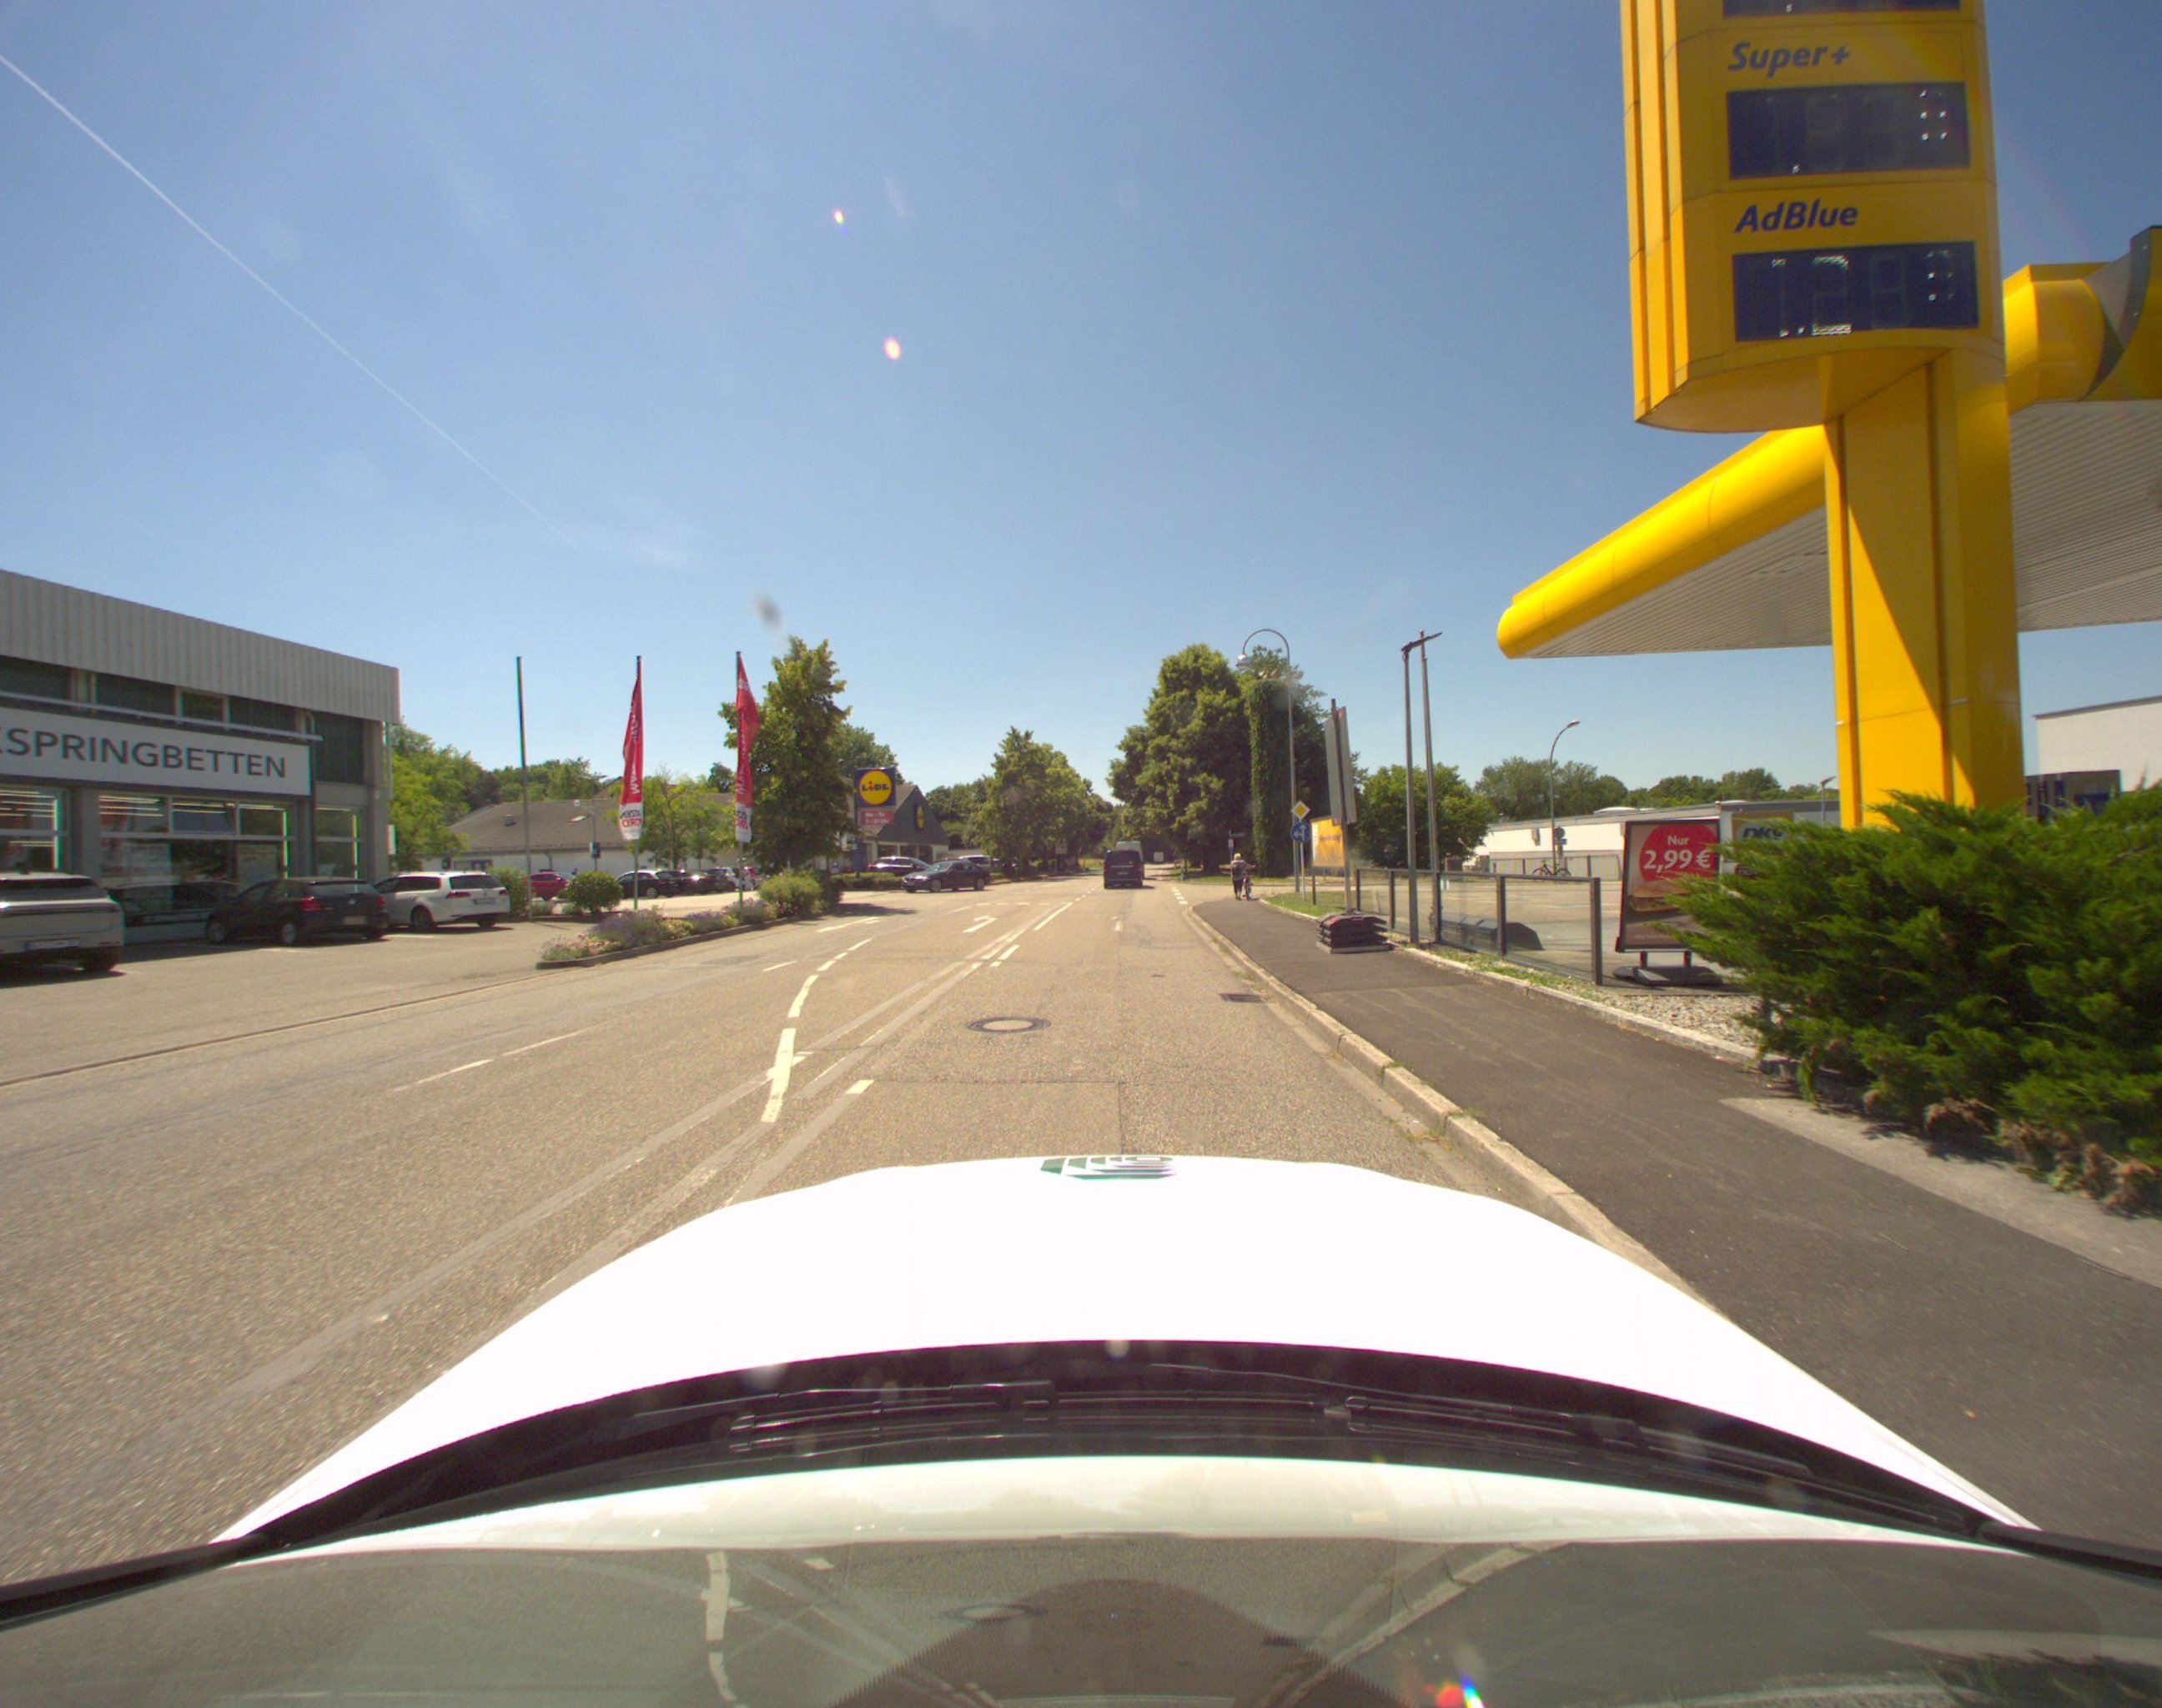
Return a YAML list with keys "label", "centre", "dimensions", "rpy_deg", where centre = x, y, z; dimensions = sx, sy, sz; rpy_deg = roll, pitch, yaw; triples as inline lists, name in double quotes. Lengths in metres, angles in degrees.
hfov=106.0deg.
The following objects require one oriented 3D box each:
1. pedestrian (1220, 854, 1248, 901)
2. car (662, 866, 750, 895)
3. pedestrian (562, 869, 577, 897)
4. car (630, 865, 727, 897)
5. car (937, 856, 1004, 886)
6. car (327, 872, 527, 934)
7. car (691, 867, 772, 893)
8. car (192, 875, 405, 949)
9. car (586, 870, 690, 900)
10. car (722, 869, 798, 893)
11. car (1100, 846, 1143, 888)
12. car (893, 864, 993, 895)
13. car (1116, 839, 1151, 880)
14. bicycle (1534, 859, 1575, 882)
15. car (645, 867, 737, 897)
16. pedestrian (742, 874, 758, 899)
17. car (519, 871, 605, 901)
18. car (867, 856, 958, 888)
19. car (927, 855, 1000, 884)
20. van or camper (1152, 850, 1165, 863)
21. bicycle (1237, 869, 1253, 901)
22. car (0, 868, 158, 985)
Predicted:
- label: "pedestrian"
  centre: [4.727, 0.715, 25.104]
  dimensions: [0.763, 1.421, 0.871]
  rpy_deg: [-1, -1, 14]
- label: "car"
  centre: [-22.570, 1.573, 49.083]
  dimensions: [4.297, 1.655, 2.114]
  rpy_deg: [-1, -1, 1]
- label: "pedestrian"
  centre: [-33.572, 1.871, 53.404]
  dimensions: [0.756, 1.806, 0.763]
  rpy_deg: [1, -2, -37]
- label: "car"
  centre: [-21.441, 1.435, 43.505]
  dimensions: [4.227, 1.589, 1.767]
  rpy_deg: [-1, -1, -4]
- label: "car"
  centre: [-7.718, 1.192, 57.228]
  dimensions: [4.339, 1.980, 1.906]
  rpy_deg: [-1, -1, 2]
- label: "car"
  centre: [-16.803, 1.229, 20.976]
  dimensions: [4.151, 1.446, 1.988]
  rpy_deg: [-1, 0, 17]
- label: "car"
  centre: [-22.035, 1.637, 51.430]
  dimensions: [4.297, 1.530, 1.828]
  rpy_deg: [-1, -1, 1]
- label: "car"
  centre: [-17.428, 1.244, 18.187]
  dimensions: [3.596, 1.475, 2.010]
  rpy_deg: [-1, 0, 19]
- label: "car"
  centre: [-22.292, 1.549, 41.073]
  dimensions: [4.227, 1.369, 1.767]
  rpy_deg: [-1, -1, -4]
- label: "car"
  centre: [-21.165, 1.767, 53.796]
  dimensions: [4.297, 1.530, 1.828]
  rpy_deg: [-1, -1, 1]
- label: "car"
  centre: [2.099, 0.651, 40.519]
  dimensions: [1.984, 1.953, 5.010]
  rpy_deg: [0, -1, 4]
- label: "car"
  centre: [-6.499, 1.168, 38.903]
  dimensions: [1.913, 1.400, 4.766]
  rpy_deg: [-1, -1, 35]
- label: "car"
  centre: [3.691, 0.370, 56.601]
  dimensions: [2.067, 2.702, 4.676]
  rpy_deg: [0, -1, 7]
- label: "bicycle"
  centre: [23.300, 0.819, 40.057]
  dimensions: [1.684, 1.098, 0.468]
  rpy_deg: [-1, -1, 6]
- label: "car"
  centre: [-22.093, 1.584, 46.276]
  dimensions: [4.303, 1.606, 1.910]
  rpy_deg: [-1, -1, -4]
- label: "pedestrian"
  centre: [-19.847, 1.926, 48.842]
  dimensions: [0.891, 1.483, 0.803]
  rpy_deg: [0, -1, -19]
- label: "car"
  centre: [-28.172, 1.730, 44.265]
  dimensions: [3.592, 1.486, 1.651]
  rpy_deg: [-1, -1, 1]
- label: "car"
  centre: [-9.704, 1.022, 47.087]
  dimensions: [4.680, 1.762, 2.103]
  rpy_deg: [-1, -1, 9]
- label: "car"
  centre: [-7.841, 1.031, 54.515]
  dimensions: [4.357, 1.845, 2.109]
  rpy_deg: [-1, -1, 10]
- label: "van or camper"
  centre: [16.776, 0.573, 176.516]
  dimensions: [2.622, 2.929, 5.207]
  rpy_deg: [0, -1, 1]
- label: "bicycle"
  centre: [5.012, 0.931, 24.839]
  dimensions: [0.375, 0.912, 1.604]
  rpy_deg: [-1, -1, 14]
- label: "car"
  centre: [-17.669, 1.116, 13.202]
  dimensions: [4.493, 1.664, 2.010]
  rpy_deg: [-1, 0, 19]
